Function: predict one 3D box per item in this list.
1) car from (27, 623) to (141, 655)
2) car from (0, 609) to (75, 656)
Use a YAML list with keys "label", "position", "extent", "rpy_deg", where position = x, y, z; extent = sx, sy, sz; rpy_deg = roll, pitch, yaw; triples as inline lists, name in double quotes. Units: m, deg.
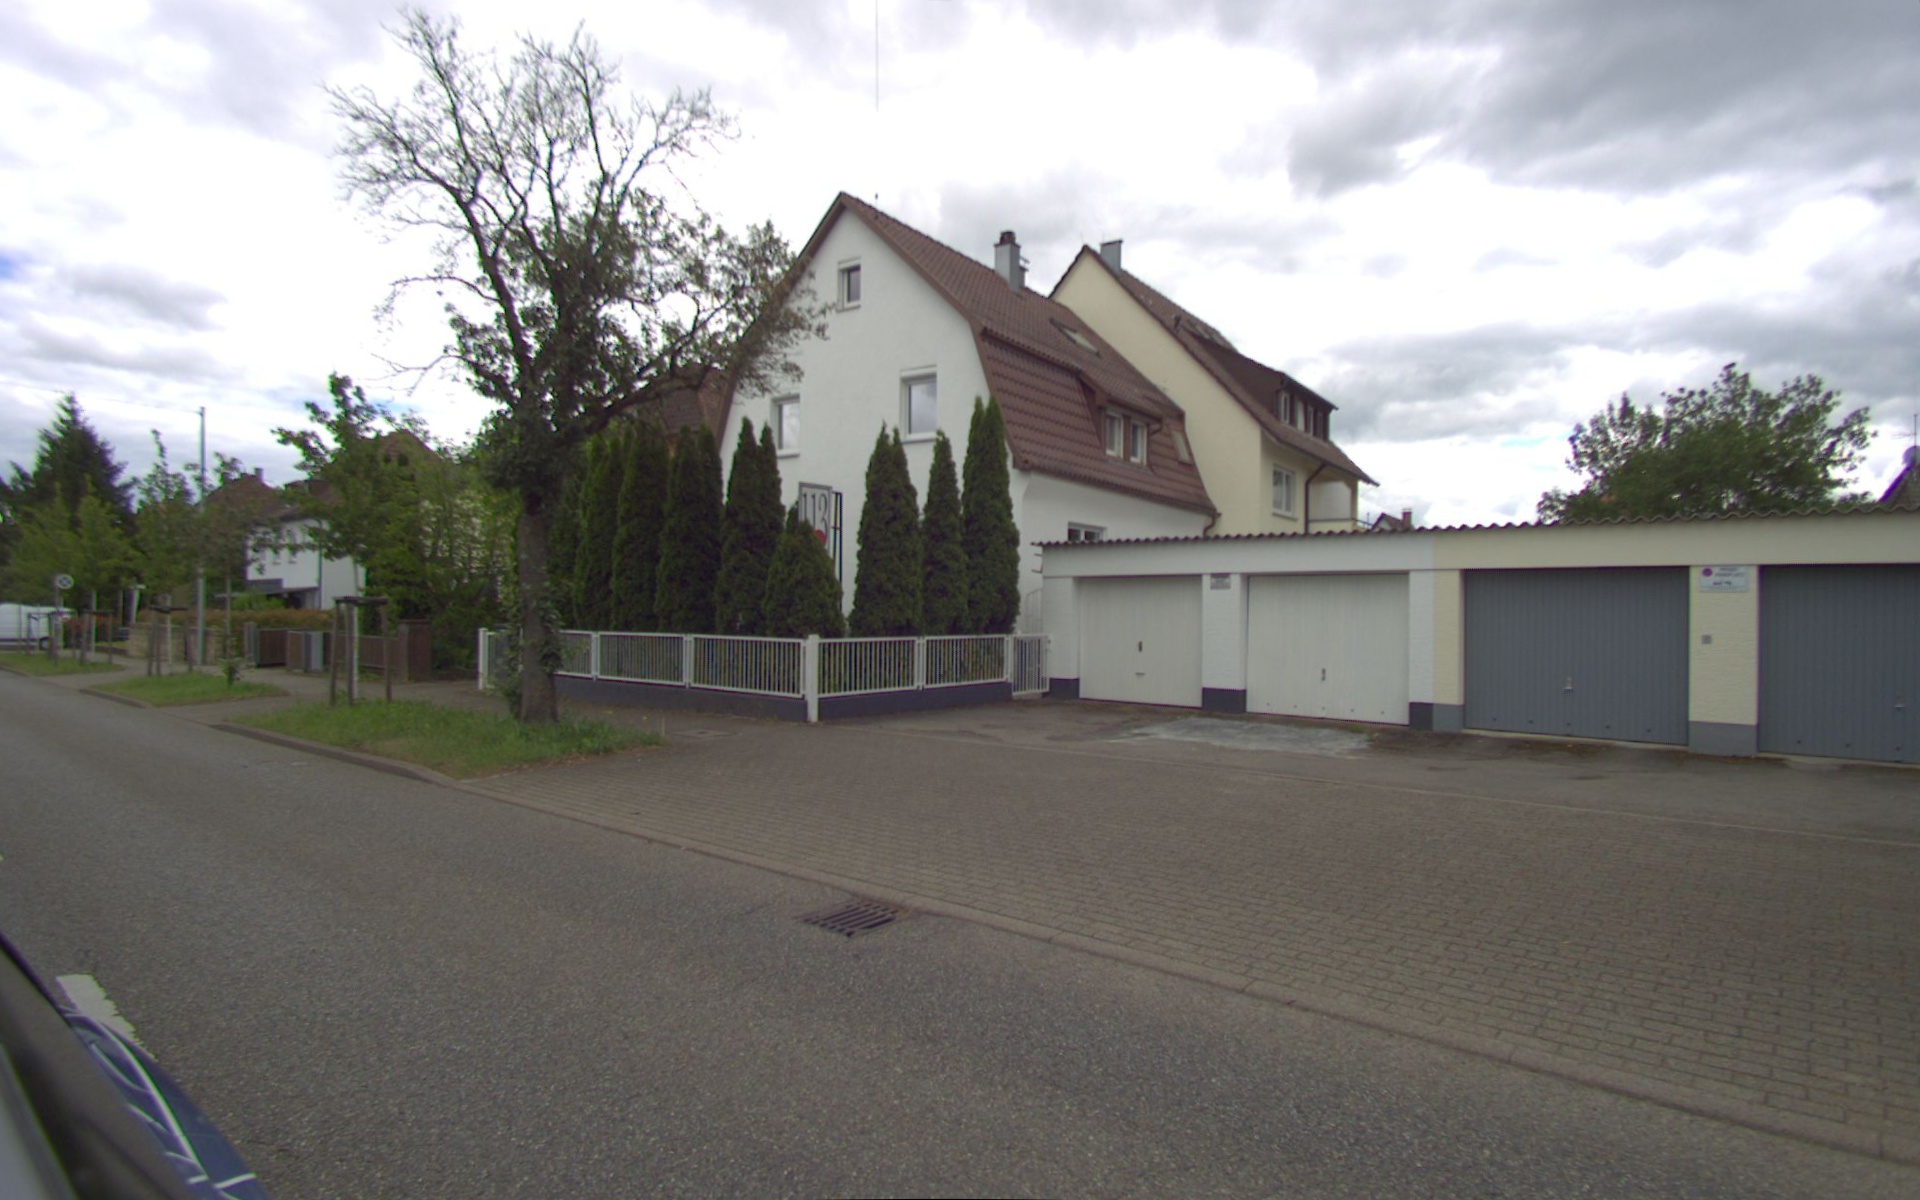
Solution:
- label: "car"
  position: [-48.869, 2.156, 56.551]
  extent: [1.999, 1.633, 4.585]
  rpy_deg: [-2, -2, 40]
- label: "car"
  position: [-54.516, 1.827, 57.829]
  extent: [5.527, 2.583, 2.136]
  rpy_deg: [3, -2, -31]
